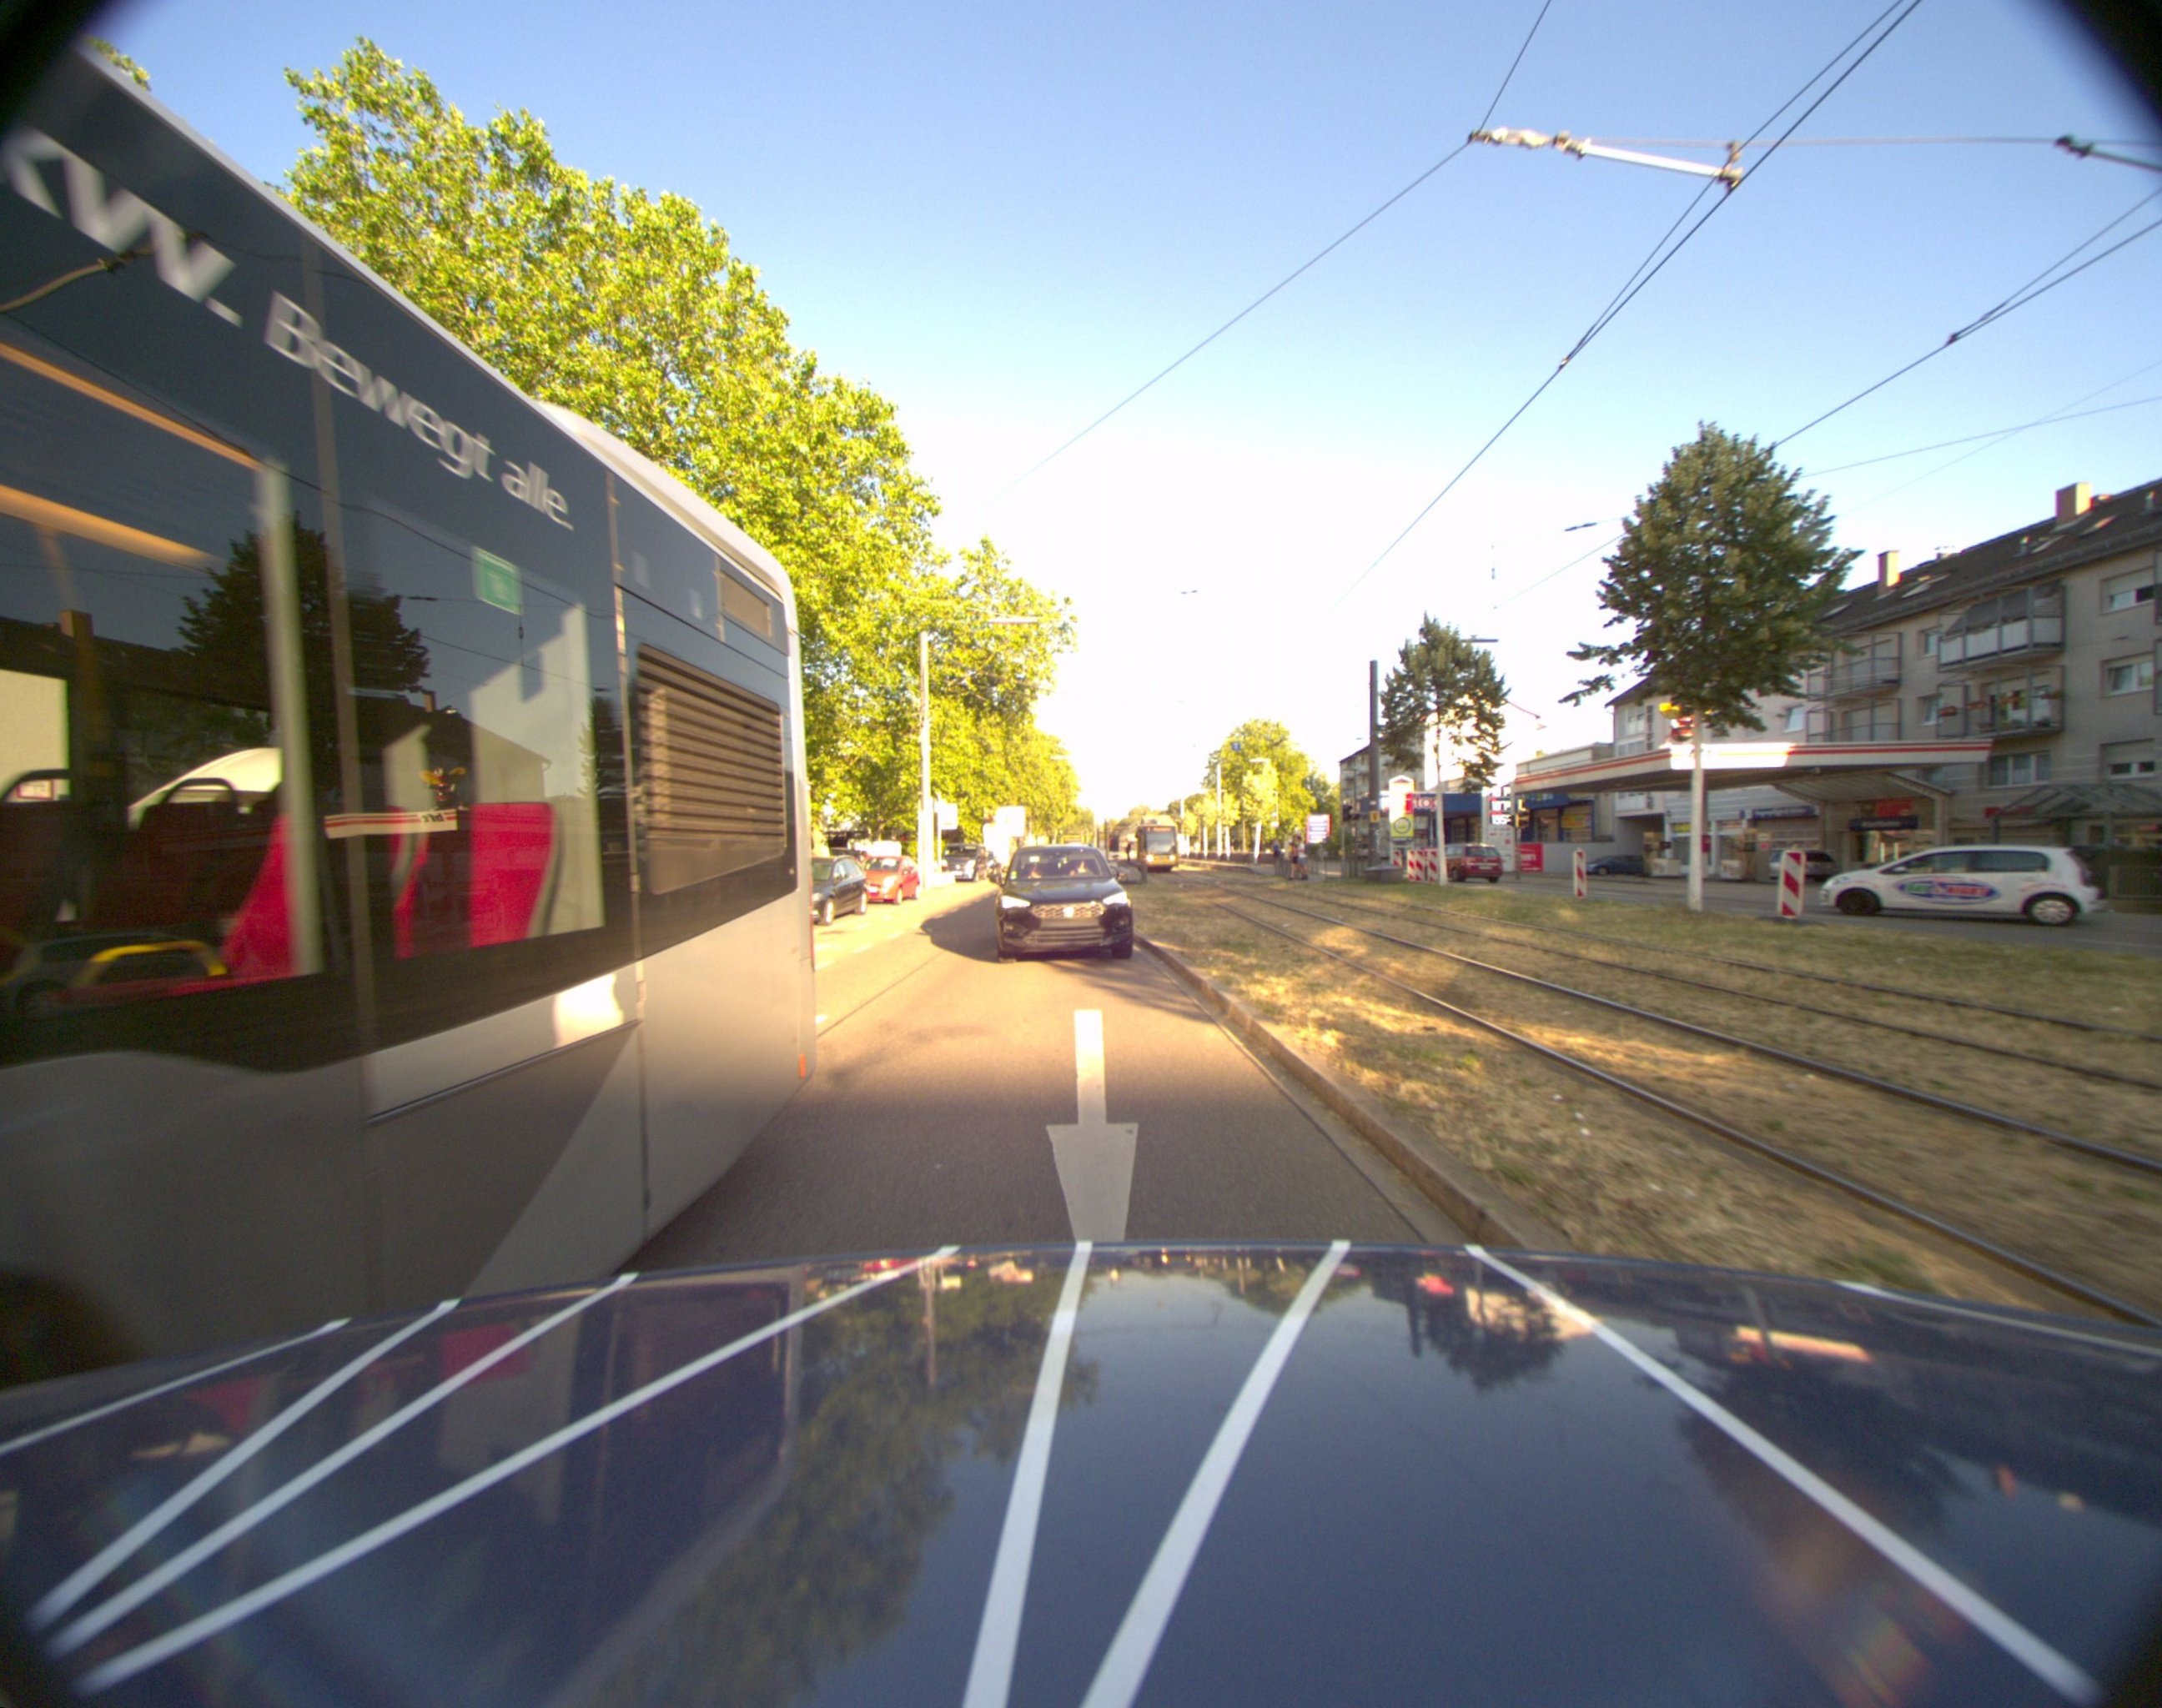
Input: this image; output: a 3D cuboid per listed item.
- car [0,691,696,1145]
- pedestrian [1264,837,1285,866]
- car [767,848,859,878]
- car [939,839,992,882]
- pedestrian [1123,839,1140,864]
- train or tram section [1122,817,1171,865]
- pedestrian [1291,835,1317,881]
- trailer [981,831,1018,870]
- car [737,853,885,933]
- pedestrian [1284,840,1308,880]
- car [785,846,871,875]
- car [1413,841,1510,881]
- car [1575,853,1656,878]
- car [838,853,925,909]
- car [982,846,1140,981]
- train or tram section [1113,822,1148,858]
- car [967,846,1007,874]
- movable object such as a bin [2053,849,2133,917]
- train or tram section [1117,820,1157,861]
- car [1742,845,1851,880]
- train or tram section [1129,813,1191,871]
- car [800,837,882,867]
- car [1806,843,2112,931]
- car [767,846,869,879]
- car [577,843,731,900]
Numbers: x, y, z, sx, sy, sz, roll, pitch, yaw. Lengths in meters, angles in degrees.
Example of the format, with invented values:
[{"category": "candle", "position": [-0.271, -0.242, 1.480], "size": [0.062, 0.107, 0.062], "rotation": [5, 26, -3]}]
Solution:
[{"category": "car", "position": [-6.233, 0.307, 7.207], "size": [2.022, 2.536, 5.784], "rotation": [3, 1, 1]}, {"category": "pedestrian", "position": [11.272, -0.149, 44.272], "size": [0.937, 1.644, 0.926], "rotation": [-3, 1, 1]}, {"category": "car", "position": [-13.979, 0.454, 39.780], "size": [4.121, 1.486, 1.803], "rotation": [0, 1, 2]}, {"category": "car", "position": [-5.848, 0.277, 38.963], "size": [1.889, 2.066, 4.562], "rotation": [0, 1, 1]}, {"category": "pedestrian", "position": [3.143, -0.147, 47.250], "size": [0.918, 1.541, 0.788], "rotation": [-2, 1, -7]}, {"category": "train or tram section", "position": [5.091, -1.041, 60.978], "size": [3.043, 3.498, 10.094], "rotation": [1, 1, 0]}, {"category": "pedestrian", "position": [9.465, 0.164, 32.225], "size": [0.860, 1.921, 0.755], "rotation": [0, 1, -1]}, {"category": "trailer", "position": [-5.559, -0.277, 52.277], "size": [1.889, 2.573, 4.650], "rotation": [0, 1, 1]}, {"category": "car", "position": [-6.130, 0.789, 17.899], "size": [1.701, 1.522, 4.652], "rotation": [2, 1, 1]}, {"category": "pedestrian", "position": [9.358, 0.246, 33.114], "size": [0.755, 1.737, 0.860], "rotation": [0, 1, -2]}, {"category": "car", "position": [-13.997, 0.358, 42.181], "size": [4.121, 1.590, 1.803], "rotation": [0, 1, 2]}, {"category": "car", "position": [16.277, 0.234, 32.829], "size": [1.816, 1.551, 4.934], "rotation": [0, 1, 2]}, {"category": "car", "position": [33.662, 0.729, 47.908], "size": [3.803, 1.514, 1.818], "rotation": [0, 1, 4]}, {"category": "car", "position": [-6.004, 0.756, 23.263], "size": [1.573, 1.486, 3.626], "rotation": [2, 1, 1]}, {"category": "car", "position": [-0.391, 0.731, 11.596], "size": [1.911, 1.606, 4.083], "rotation": [-3, 1, -4]}, {"category": "train or tram section", "position": [5.140, -1.495, 81.166], "size": [3.043, 3.498, 10.094], "rotation": [1, 1, 0]}, {"category": "car", "position": [-5.553, 0.338, 45.500], "size": [1.800, 1.621, 4.000], "rotation": [0, 1, 1]}, {"category": "movable object such as a bin", "position": [21.370, 0.598, 16.063], "size": [0.665, 1.392, 0.749], "rotation": [0, 1, 0]}, {"category": "train or tram section", "position": [5.102, -1.261, 71.085], "size": [3.043, 3.498, 10.094], "rotation": [1, 1, 0]}, {"category": "car", "position": [34.253, 0.370, 36.524], "size": [1.816, 1.515, 3.829], "rotation": [-2, 1, 4]}, {"category": "train or tram section", "position": [5.070, -0.816, 50.890], "size": [3.043, 3.498, 10.094], "rotation": [1, 1, 0]}, {"category": "car", "position": [-14.008, -0.130, 44.437], "size": [4.121, 1.541, 1.803], "rotation": [-3, 1, 2]}, {"category": "car", "position": [17.317, 0.554, 15.243], "size": [1.821, 1.503, 3.817], "rotation": [-1, 2, -41]}, {"category": "car", "position": [-12.284, 0.378, 35.661], "size": [4.121, 1.486, 1.803], "rotation": [0, 1, 2]}, {"category": "car", "position": [-14.226, 0.558, 25.476], "size": [4.031, 1.591, 1.856], "rotation": [-3, 1, 0]}]
